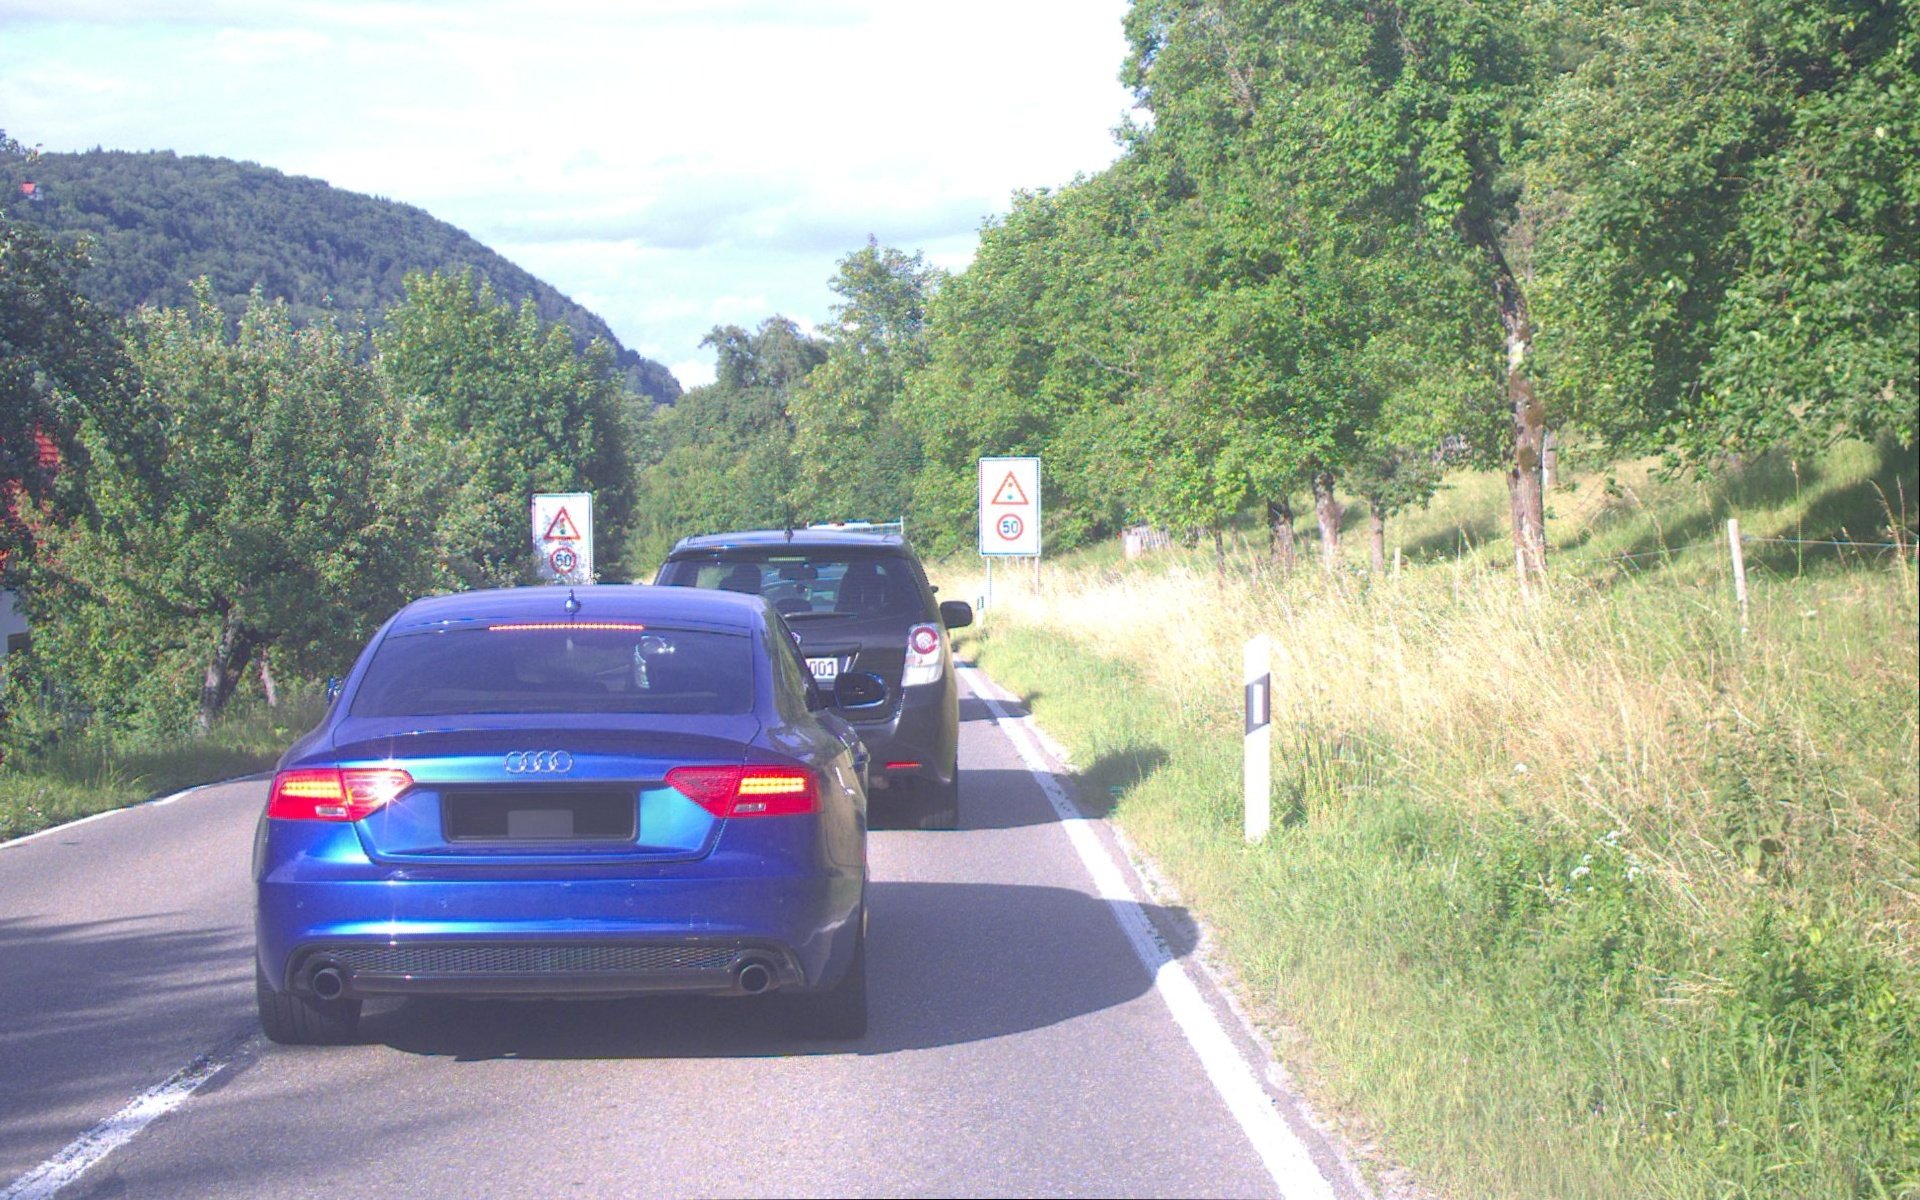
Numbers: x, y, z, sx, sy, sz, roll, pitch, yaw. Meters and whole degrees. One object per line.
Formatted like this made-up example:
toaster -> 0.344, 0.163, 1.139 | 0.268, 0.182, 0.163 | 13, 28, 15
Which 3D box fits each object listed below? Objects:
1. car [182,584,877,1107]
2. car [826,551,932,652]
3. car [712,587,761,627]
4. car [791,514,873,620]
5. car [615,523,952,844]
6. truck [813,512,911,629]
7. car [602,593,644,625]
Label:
car -> -1.199, 0.646, 11.286 | 1.805, 1.377, 4.215 | 0, 0, -1
car -> -1.340, -0.003, 57.028 | 1.692, 1.618, 3.789 | 0, 1, -1
car -> -8.888, 0.268, 136.600 | 1.558, 1.491, 3.779 | 1, 1, -10
car -> -3.112, -0.795, 82.785 | 1.792, 2.445, 3.920 | 1, 1, -4
car -> -0.937, 0.394, 19.280 | 1.692, 1.618, 3.789 | 0, 1, -1
truck -> -2.087, -0.633, 72.601 | 1.950, 2.337, 5.094 | 1, 1, -2
car -> -16.945, 0.453, 172.667 | 1.558, 1.491, 3.779 | 1, 1, -13
